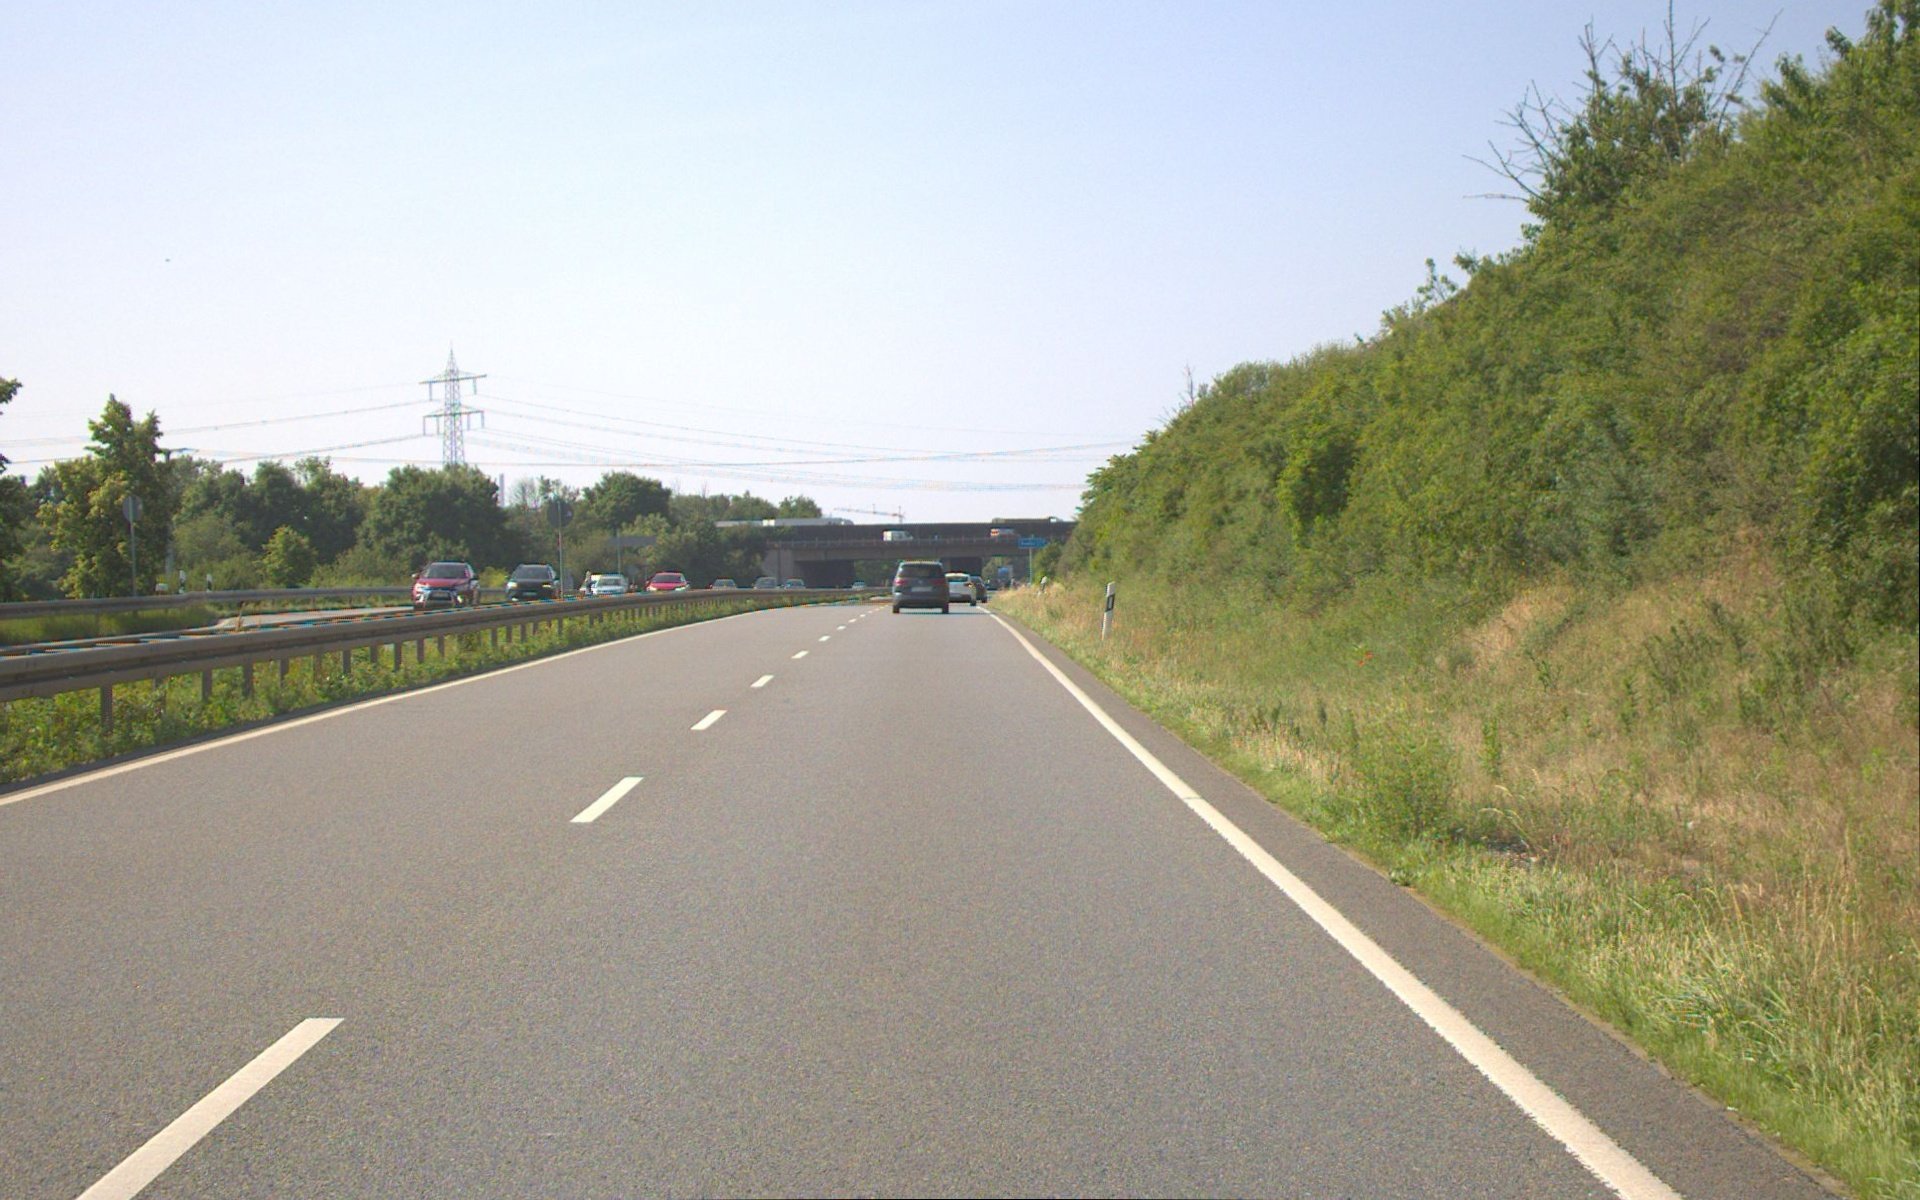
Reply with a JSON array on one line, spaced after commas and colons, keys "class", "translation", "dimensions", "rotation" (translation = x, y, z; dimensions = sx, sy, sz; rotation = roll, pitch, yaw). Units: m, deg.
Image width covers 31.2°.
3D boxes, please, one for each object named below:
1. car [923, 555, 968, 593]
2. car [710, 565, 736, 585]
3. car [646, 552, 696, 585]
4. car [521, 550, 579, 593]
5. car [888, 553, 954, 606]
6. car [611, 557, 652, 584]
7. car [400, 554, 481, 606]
[{"class": "car", "translation": [-0.642, -1.200, 155.555], "dimensions": [1.796, 1.659, 4.000], "rotation": [2, 1, 2]}, {"class": "car", "translation": [-17.119, -1.834, 248.295], "dimensions": [1.713, 1.445, 4.324], "rotation": [0, 1, -2]}, {"class": "car", "translation": [-13.408, -1.446, 159.663], "dimensions": [1.876, 1.488, 5.095], "rotation": [0, 0, 0]}, {"class": "car", "translation": [-15.707, -1.095, 131.806], "dimensions": [1.726, 1.590, 4.221], "rotation": [0, 1, 0]}, {"class": "car", "translation": [-1.205, -0.641, 108.054], "dimensions": [1.850, 1.639, 4.000], "rotation": [0, 0, 2]}, {"class": "car", "translation": [-17.979, -1.612, 188.246], "dimensions": [1.821, 1.391, 4.415], "rotation": [2, 0, 0]}, {"class": "car", "translation": [-16.402, -0.647, 108.705], "dimensions": [1.843, 1.587, 4.773], "rotation": [1, 1, 0]}]
